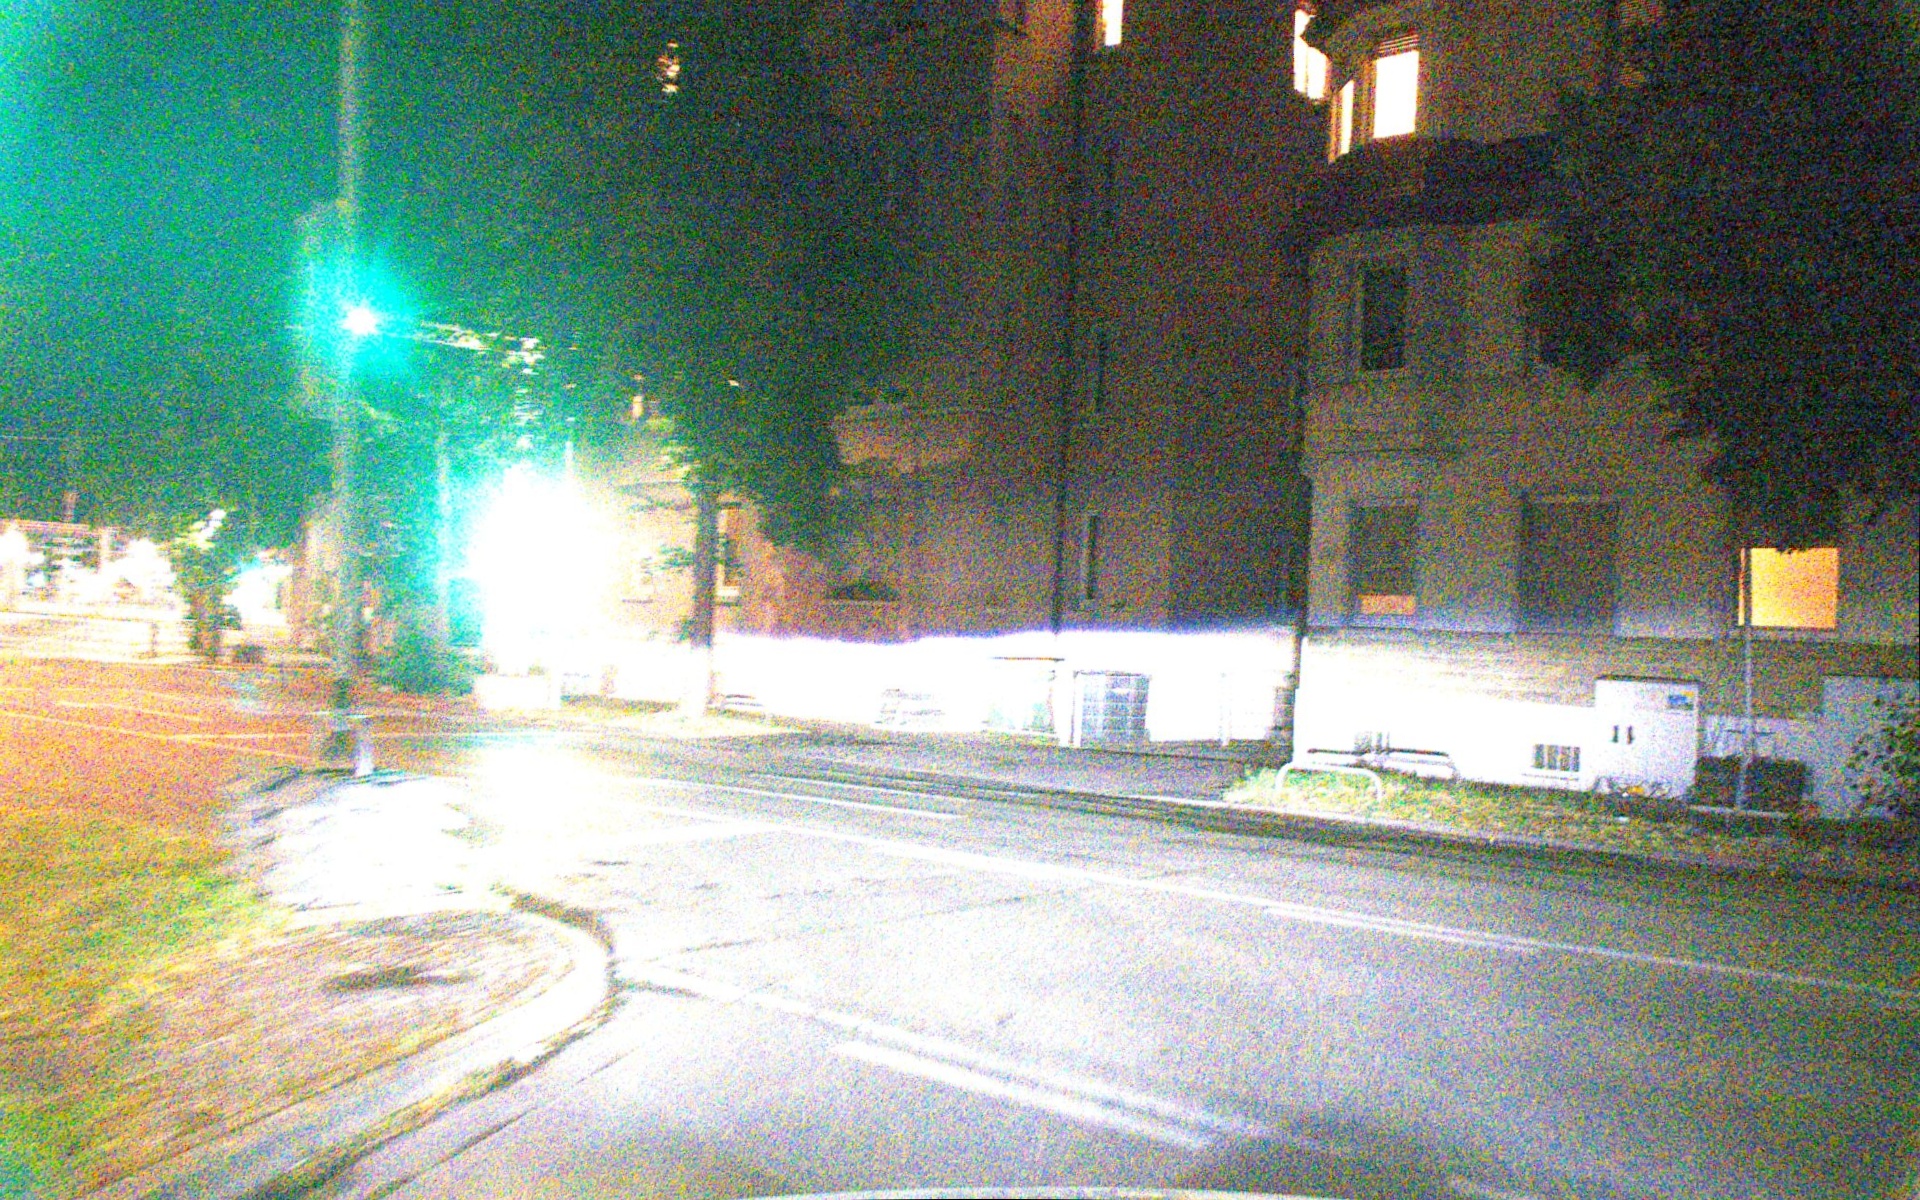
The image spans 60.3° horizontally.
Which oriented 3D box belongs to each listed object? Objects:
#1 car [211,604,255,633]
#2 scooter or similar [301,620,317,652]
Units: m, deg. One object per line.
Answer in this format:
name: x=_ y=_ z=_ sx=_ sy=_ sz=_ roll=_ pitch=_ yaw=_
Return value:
car: x=-41.015 y=1.045 z=93.274 sx=1.715 sy=1.485 sz=4.681 roll=4 pitch=-2 yaw=-29
scooter or similar: x=-23.773 y=1.306 z=60.420 sx=0.415 sy=1.150 sz=1.486 roll=3 pitch=-1 yaw=-18
